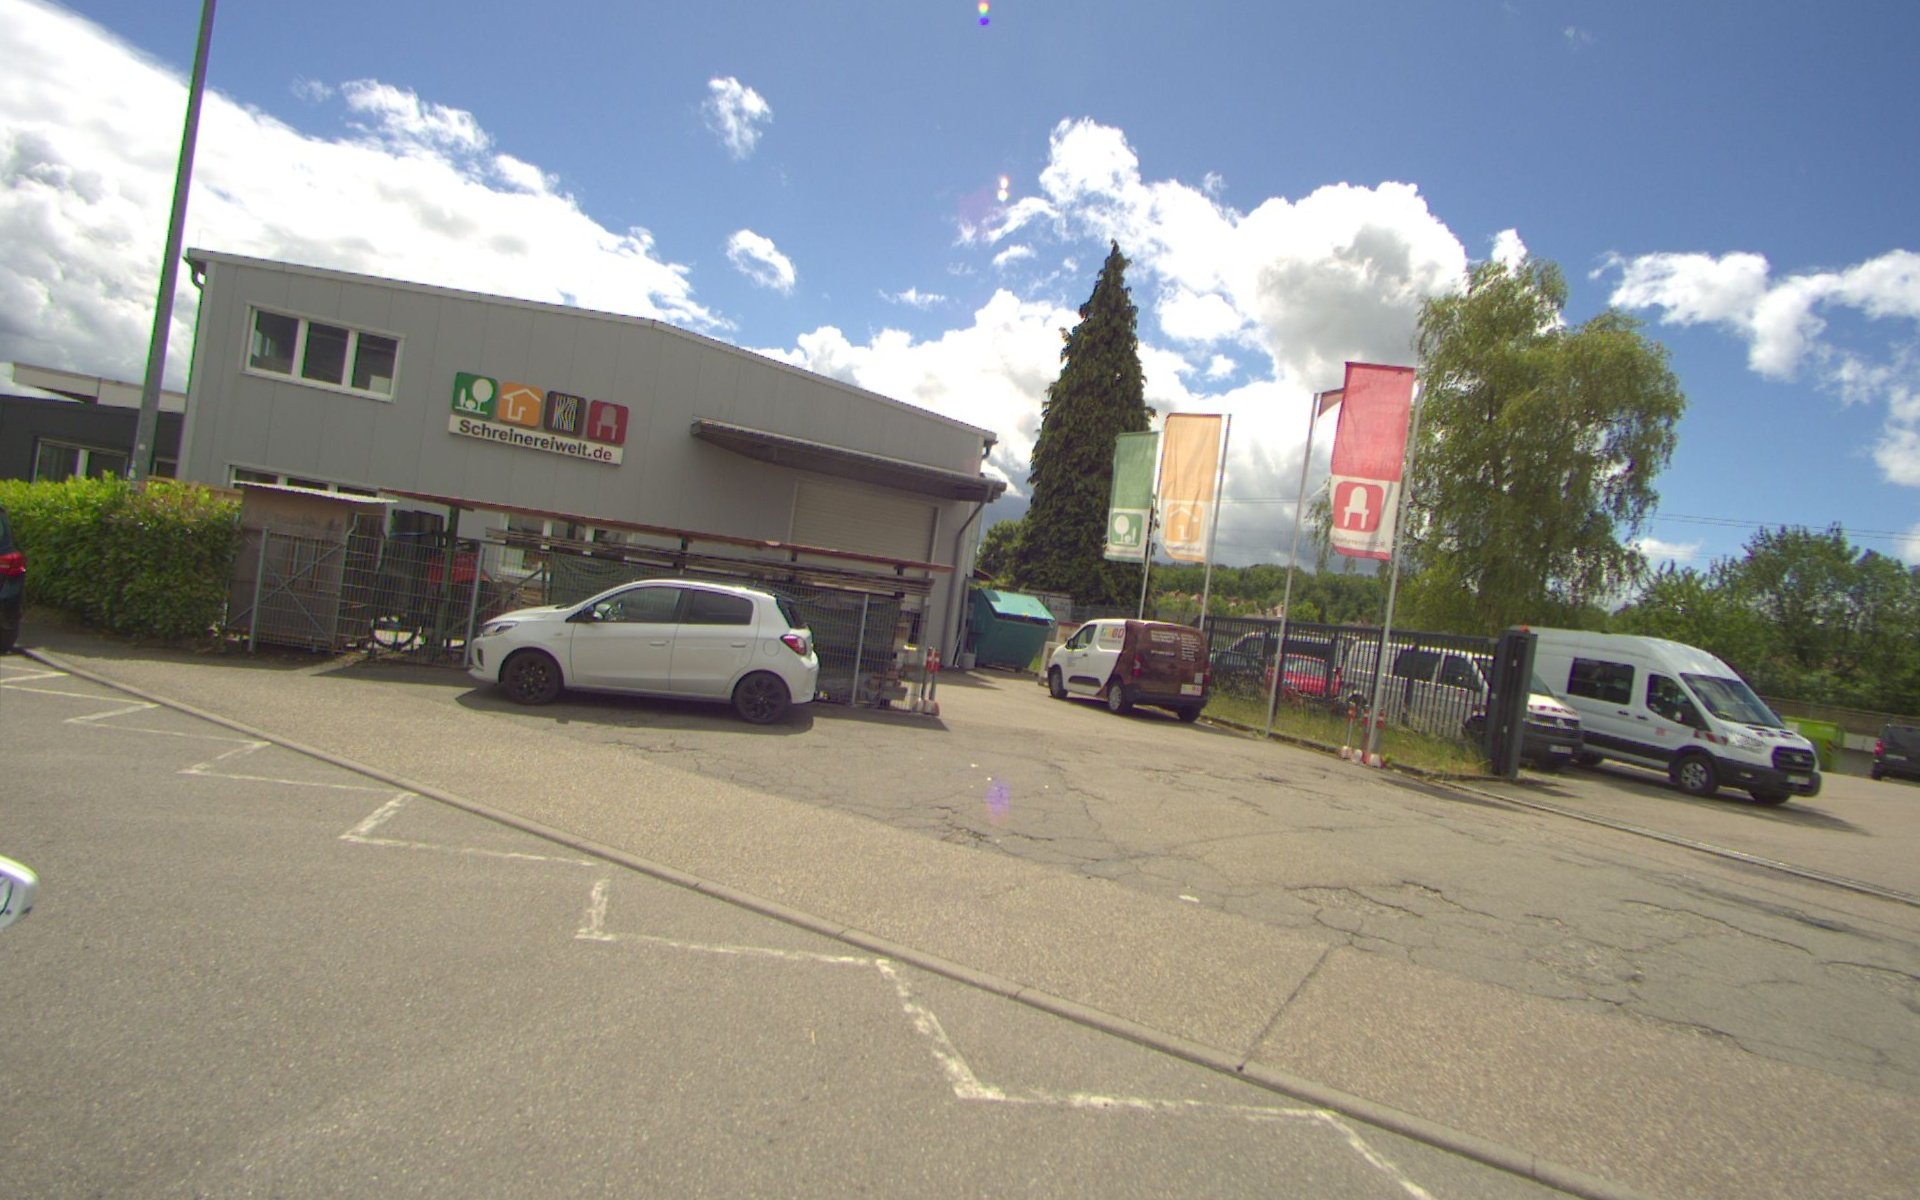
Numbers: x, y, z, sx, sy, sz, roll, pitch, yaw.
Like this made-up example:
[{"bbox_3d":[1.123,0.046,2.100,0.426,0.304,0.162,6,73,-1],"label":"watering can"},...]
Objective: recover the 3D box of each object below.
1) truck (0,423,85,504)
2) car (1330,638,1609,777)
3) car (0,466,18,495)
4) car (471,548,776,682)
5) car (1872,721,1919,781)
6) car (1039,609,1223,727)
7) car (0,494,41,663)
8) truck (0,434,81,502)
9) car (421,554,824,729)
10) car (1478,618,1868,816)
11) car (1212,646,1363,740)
[{"bbox_3d":[-61.737,-8.960,66.174,2.956,4.106,8.449,6,-2,-19],"label":"truck"},{"bbox_3d":[9.833,1.985,20.018,1.807,2.006,5.081,6,0,-16],"label":"car"},{"bbox_3d":[-101.082,-12.729,103.539,5.612,2.707,1.980,8,-3,-38],"label":"car"},{"bbox_3d":[-4.911,0.206,15.182,4.003,1.525,1.685,6,2,-8],"label":"car"},{"bbox_3d":[32.911,5.248,34.773,1.860,1.821,3.979,4,-3,44],"label":"car"},{"bbox_3d":[3.335,1.289,20.513,1.792,1.894,4.024,6,0,-20],"label":"car"},{"bbox_3d":[-11.481,-0.467,10.498,4.056,1.656,1.683,6,-3,33],"label":"car"},{"bbox_3d":[-75.092,-10.608,81.214,2.956,4.106,8.449,6,-2,-19],"label":"truck"},{"bbox_3d":[-3.647,0.440,11.522,4.003,1.482,1.721,6,2,-8],"label":"car"},{"bbox_3d":[13.275,2.018,19.436,2.034,2.879,5.955,6,0,-16],"label":"car"},{"bbox_3d":[8.099,2.252,25.263,1.565,1.808,3.818,6,0,-16],"label":"car"}]
